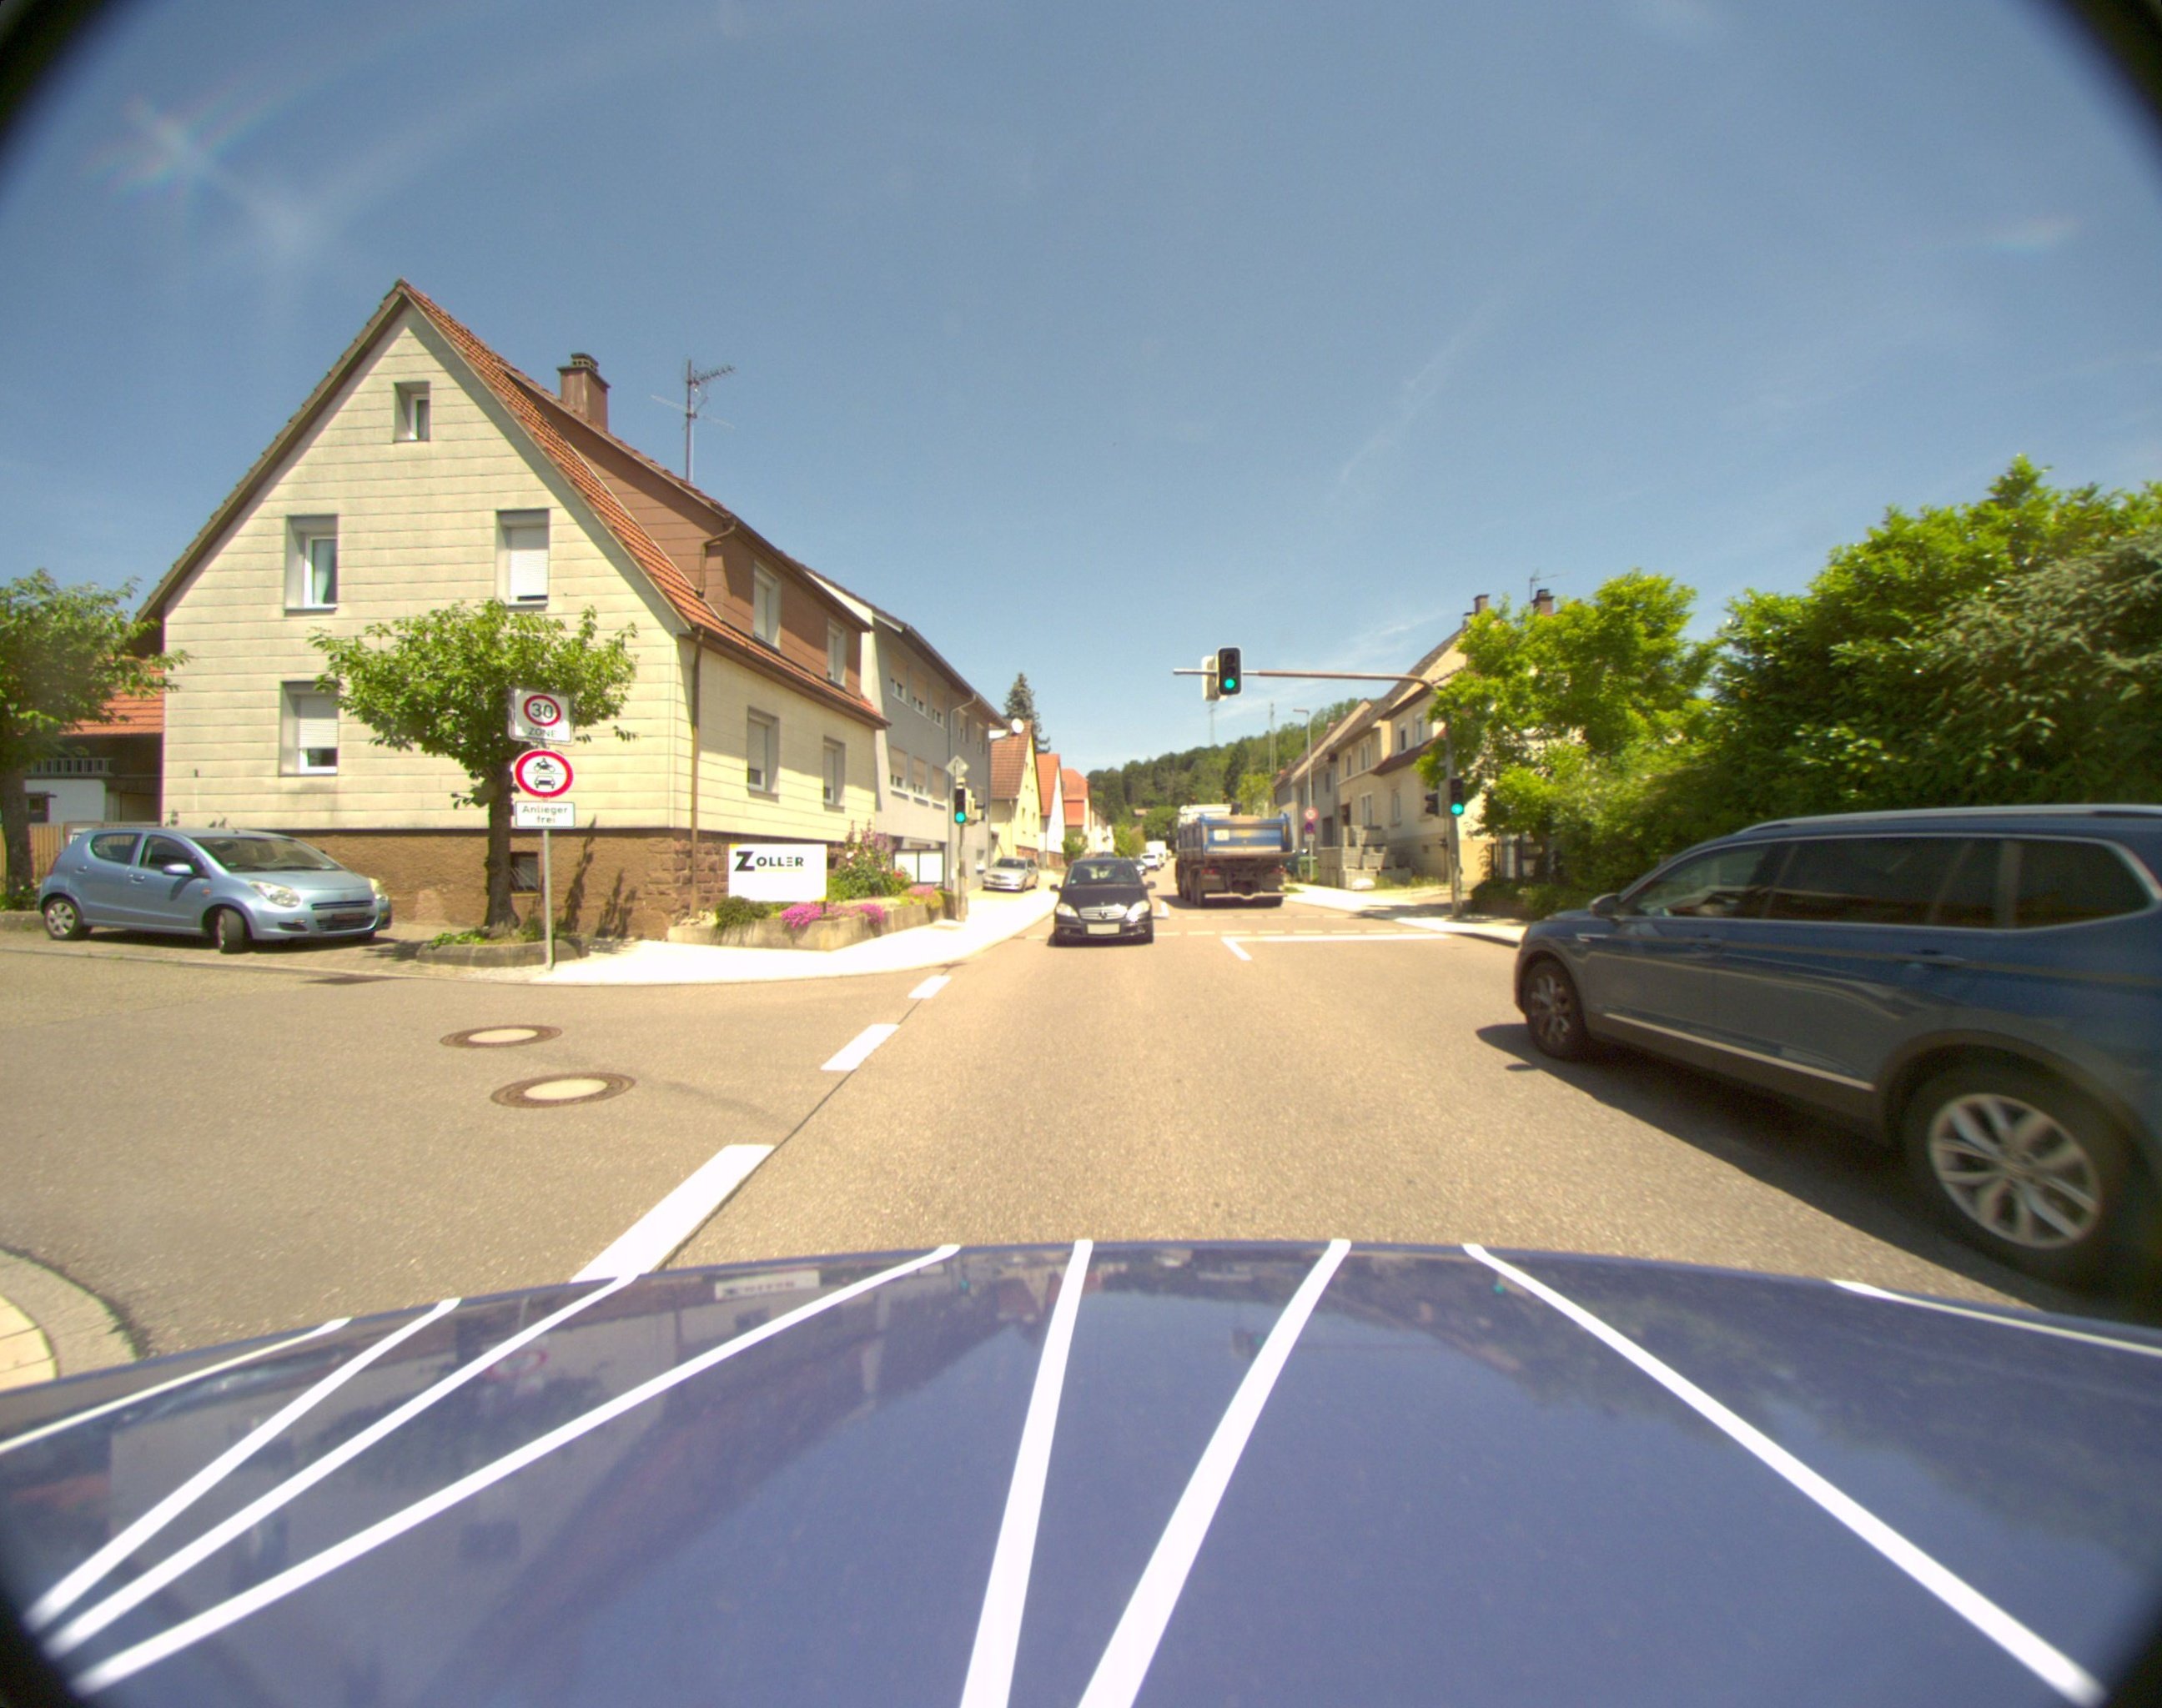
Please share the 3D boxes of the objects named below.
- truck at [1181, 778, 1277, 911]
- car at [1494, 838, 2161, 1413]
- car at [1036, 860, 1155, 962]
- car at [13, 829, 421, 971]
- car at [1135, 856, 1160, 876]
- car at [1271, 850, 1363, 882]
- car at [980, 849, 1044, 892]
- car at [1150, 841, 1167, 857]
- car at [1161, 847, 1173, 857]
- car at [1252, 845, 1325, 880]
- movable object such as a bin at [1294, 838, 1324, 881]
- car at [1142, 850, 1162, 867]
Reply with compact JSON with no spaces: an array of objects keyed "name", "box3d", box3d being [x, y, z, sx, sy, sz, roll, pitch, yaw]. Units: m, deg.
[{"name":"truck","box3d":[4.714,-0.262,25.622,2.546,3.716,8.626,0,0,7]},{"name":"car","box3d":[4.114,0.748,3.725,1.892,1.636,4.614,0,1,3]},{"name":"car","box3d":[0.467,0.943,14.570,1.766,1.571,4.934,-2,-1,7]},{"name":"car","box3d":[-11.000,0.510,9.826,3.521,1.484,1.800,3,1,7]},{"name":"car","box3d":[5.529,0.986,63.685,1.998,1.477,4.223,-2,0,4]},{"name":"car","box3d":[11.865,0.606,38.335,4.040,1.491,1.707,-2,1,44]},{"name":"car","box3d":[-2.952,0.658,33.364,1.866,1.612,4.509,2,1,7]},{"name":"car","box3d":[10.597,-0.684,104.064,1.985,2.170,4.002,-2,1,9]},{"name":"car","box3d":[19.625,-0.437,173.229,2.370,1.989,5.175,-2,1,9]},{"name":"car","box3d":[11.580,0.435,42.590,3.604,1.780,1.849,-2,1,4]},{"name":"movable object such as a bin","box3d":[11.015,0.267,36.715,1.061,2.002,1.323,-2,1,5]},{"name":"car","box3d":[7.435,0.479,79.821,1.998,1.716,4.001,-2,0,4]}]
